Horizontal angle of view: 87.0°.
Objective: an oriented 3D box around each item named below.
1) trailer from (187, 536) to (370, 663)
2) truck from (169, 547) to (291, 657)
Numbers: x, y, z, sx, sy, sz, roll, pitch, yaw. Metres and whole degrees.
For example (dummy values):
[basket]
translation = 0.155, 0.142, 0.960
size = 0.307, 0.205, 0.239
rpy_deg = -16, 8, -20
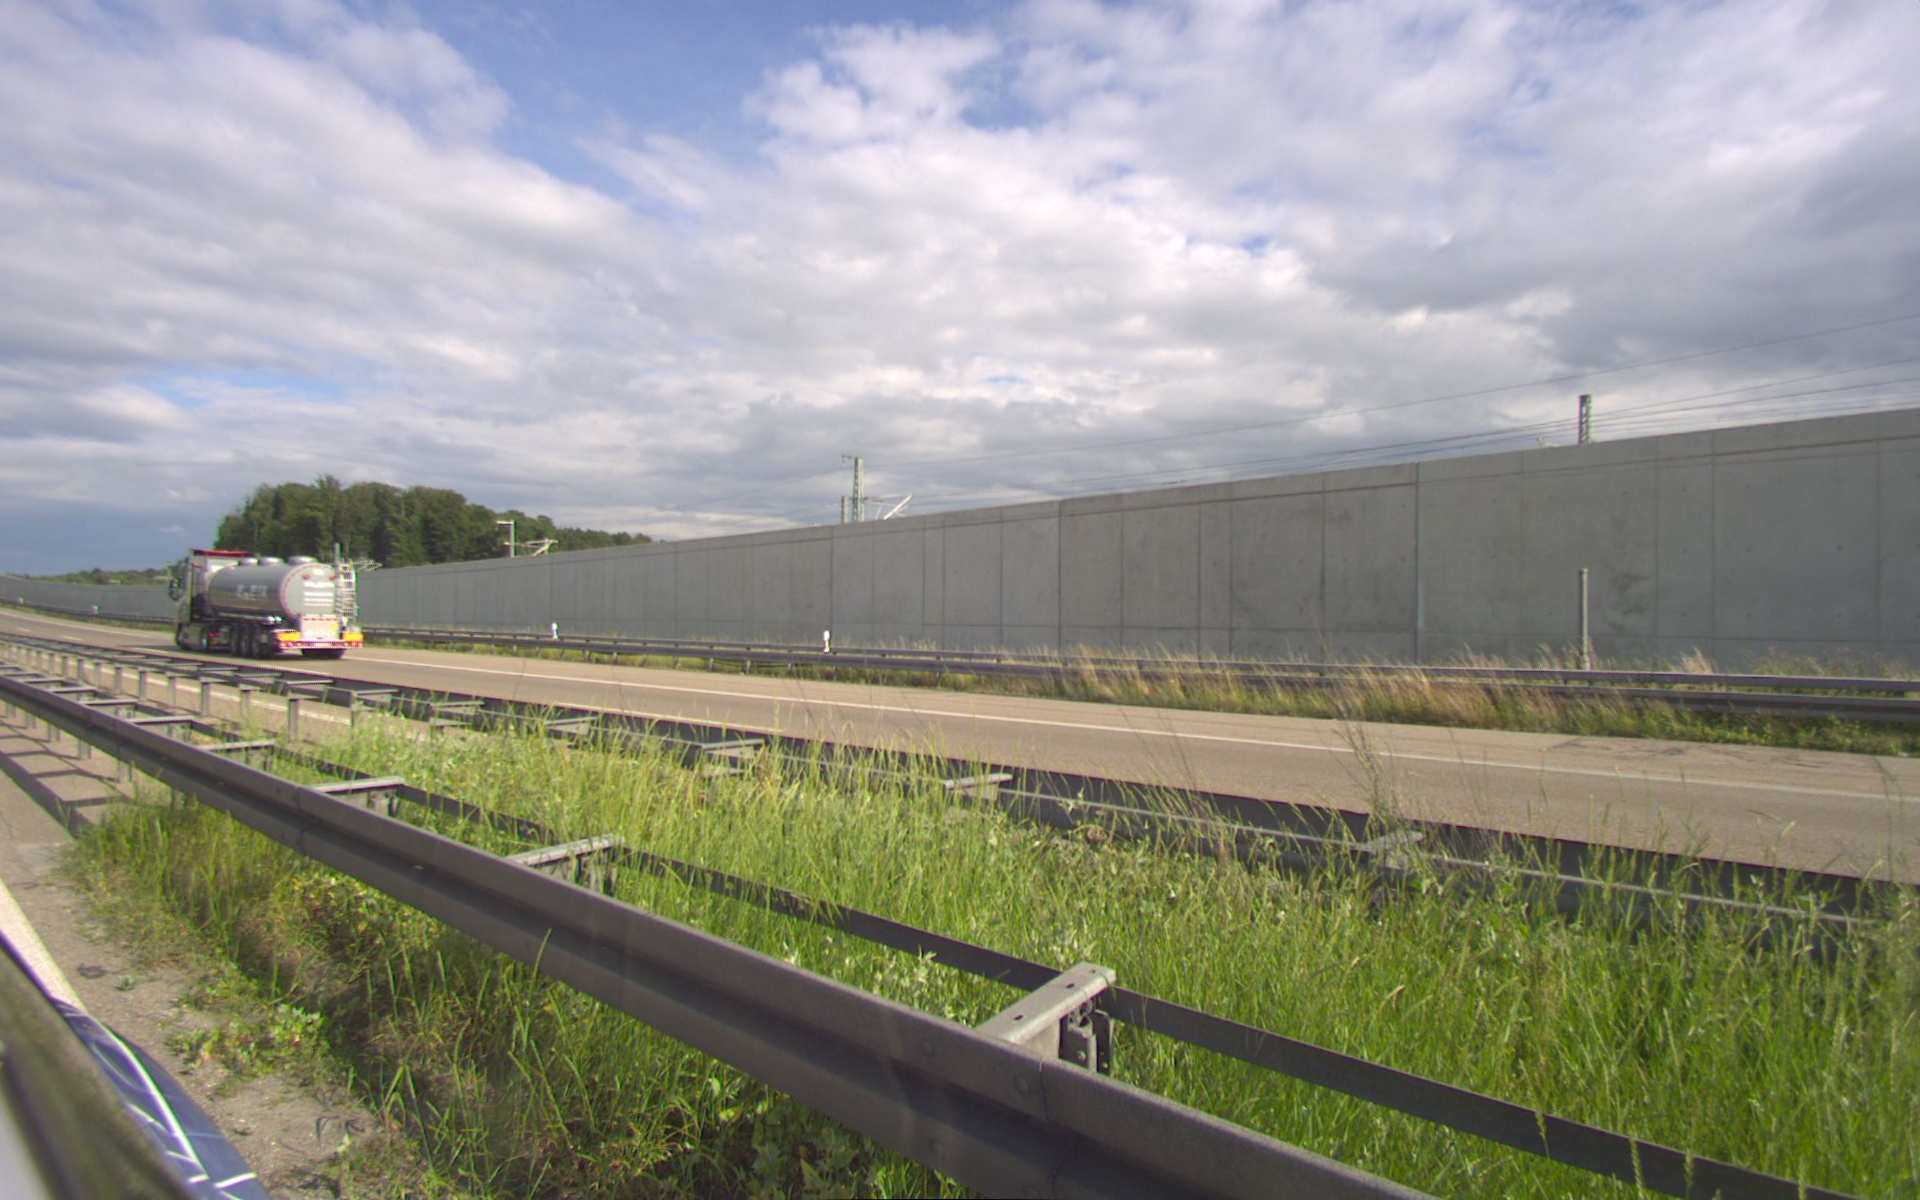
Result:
[trailer]
translation = -24.324, 0.076, 35.758
size = 10.858, 3.931, 2.561
rpy_deg = -1, -2, 41
[truck]
translation = -28.480, 0.136, 39.392
size = 5.719, 3.953, 2.555
rpy_deg = -1, -2, 41
